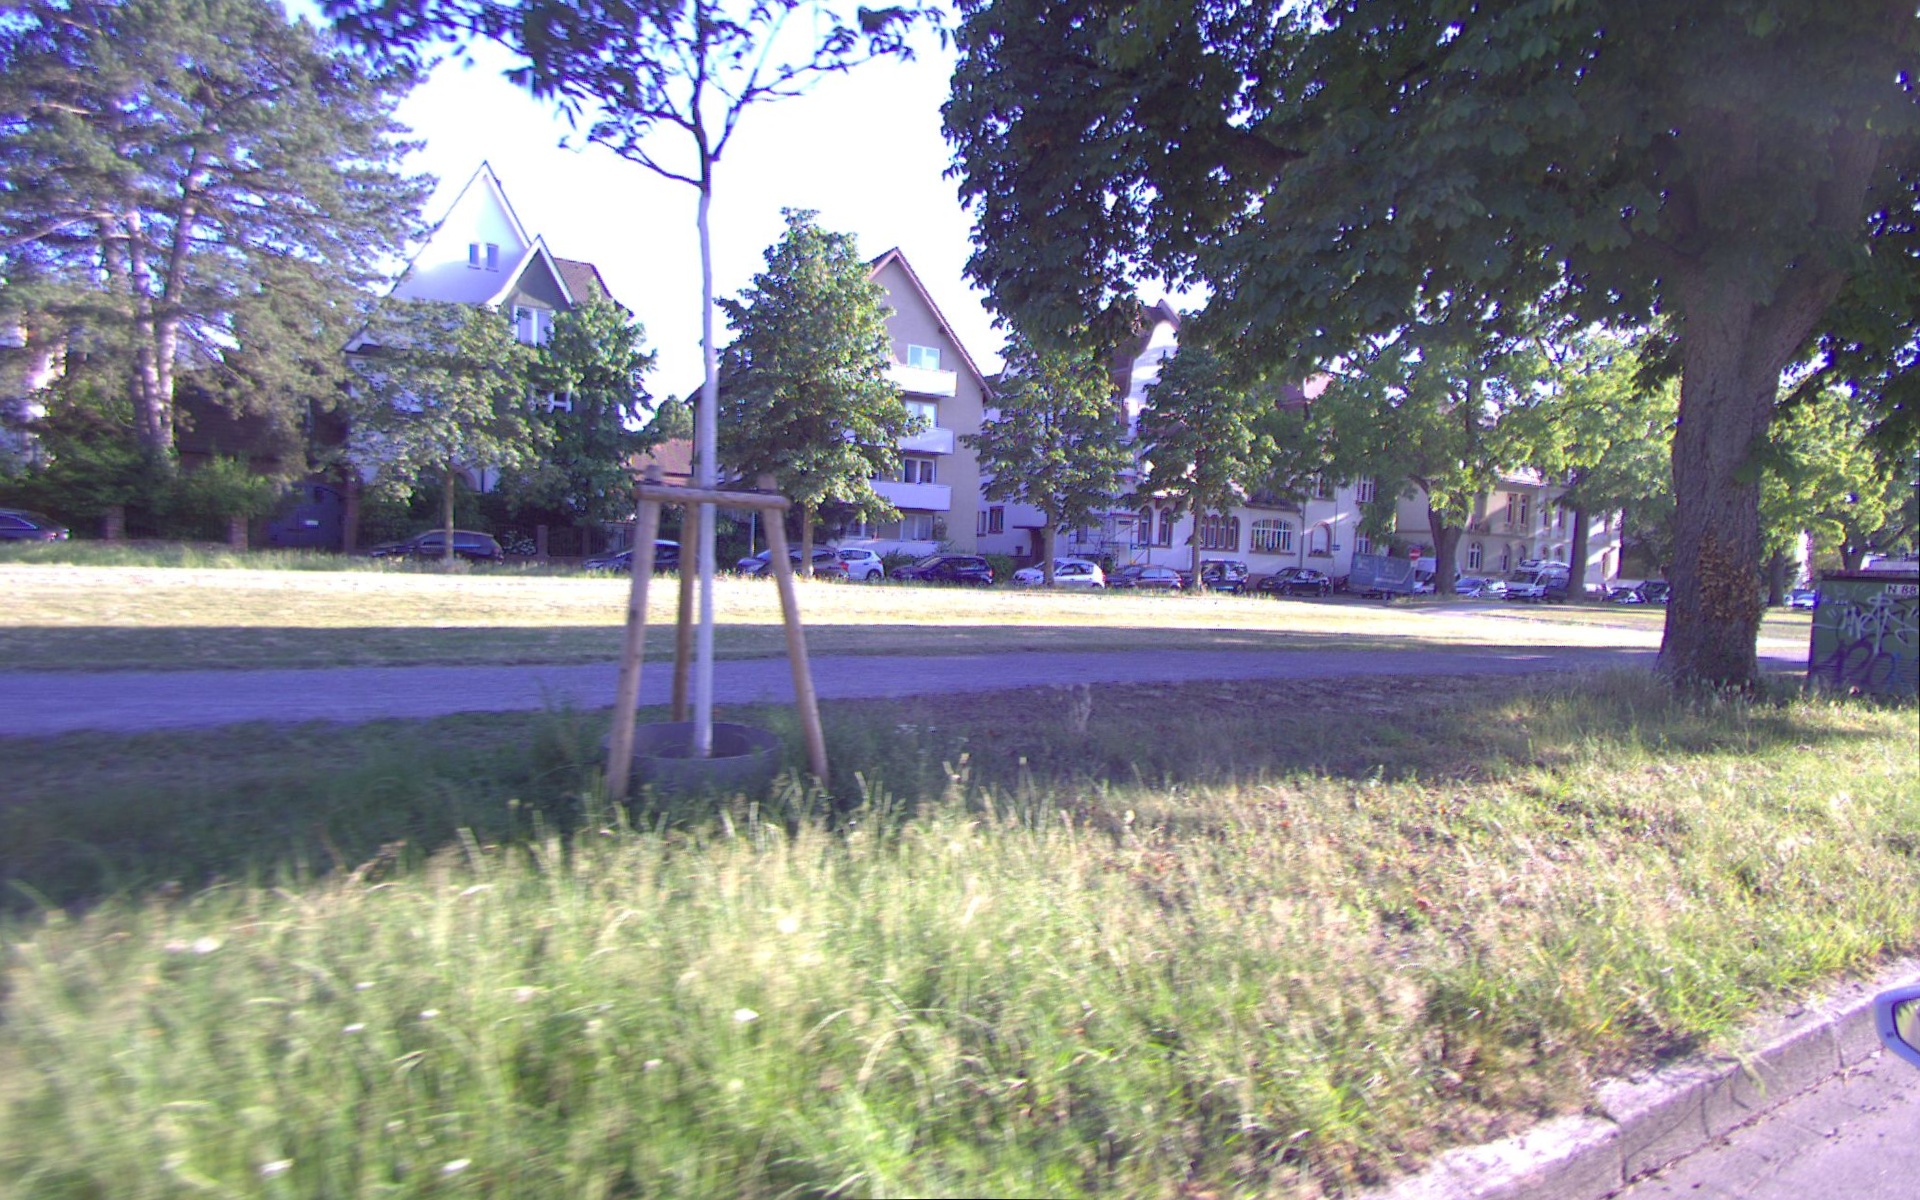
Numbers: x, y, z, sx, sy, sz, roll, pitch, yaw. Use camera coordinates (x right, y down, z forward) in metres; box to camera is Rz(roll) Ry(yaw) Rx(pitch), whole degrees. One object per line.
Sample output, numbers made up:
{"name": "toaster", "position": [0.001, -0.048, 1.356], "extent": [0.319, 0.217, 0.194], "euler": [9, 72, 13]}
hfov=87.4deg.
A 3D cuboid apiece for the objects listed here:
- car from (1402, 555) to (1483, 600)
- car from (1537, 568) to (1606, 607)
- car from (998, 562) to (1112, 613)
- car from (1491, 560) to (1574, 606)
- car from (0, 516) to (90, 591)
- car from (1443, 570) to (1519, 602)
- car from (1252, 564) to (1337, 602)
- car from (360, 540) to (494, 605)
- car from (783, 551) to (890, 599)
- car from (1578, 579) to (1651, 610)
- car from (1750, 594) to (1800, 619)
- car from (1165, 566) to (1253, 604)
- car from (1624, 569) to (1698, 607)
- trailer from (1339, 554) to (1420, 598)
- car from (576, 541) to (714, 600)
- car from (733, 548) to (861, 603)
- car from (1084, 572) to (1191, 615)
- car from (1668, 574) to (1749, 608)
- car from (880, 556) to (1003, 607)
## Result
{"name": "car", "position": [30.618, -1.414, 63.658], "extent": [5.125, 2.709, 1.984], "euler": [1, 3, -30]}
{"name": "car", "position": [36.989, -0.757, 60.739], "extent": [4.263, 2.205, 1.677], "euler": [1, 3, -30]}
{"name": "car", "position": [3.890, -0.504, 40.930], "extent": [4.204, 1.885, 1.984], "euler": [1, 3, -29]}
{"name": "car", "position": [39.283, -1.109, 68.909], "extent": [5.750, 2.961, 2.426], "euler": [1, 0, -31]}
{"name": "car", "position": [-27.724, -1.373, 28.717], "extent": [3.951, 2.041, 1.984], "euler": [1, 3, -29]}
{"name": "car", "position": [28.954, -0.769, 55.811], "extent": [4.263, 1.581, 1.677], "euler": [1, 3, -30]}
{"name": "car", "position": [19.024, -0.958, 57.073], "extent": [4.697, 1.979, 1.983], "euler": [1, 3, -32]}
{"name": "car", "position": [-18.211, -0.953, 34.538], "extent": [3.947, 2.041, 1.986], "euler": [1, 3, -26]}
{"name": "car", "position": [-5.157, -1.047, 42.140], "extent": [3.957, 1.807, 1.982], "euler": [1, 3, -33]}
{"name": "car", "position": [41.321, -0.334, 63.447], "extent": [4.431, 1.817, 1.984], "euler": [1, 3, -30]}
{"name": "car", "position": [72.070, 0.584, 88.814], "extent": [4.432, 2.040, 1.984], "euler": [1, 0, -31]}
{"name": "car", "position": [13.226, -0.785, 53.267], "extent": [4.448, 1.902, 1.981], "euler": [1, 3, -33]}
{"name": "car", "position": [46.280, -0.786, 66.303], "extent": [5.126, 2.281, 1.983], "euler": [1, 3, -31]}
{"name": "trailer", "position": [25.229, -1.419, 60.431], "extent": [4.668, 2.461, 1.984], "euler": [1, 3, -30]}
{"name": "car", "position": [-10.228, -0.967, 32.632], "extent": [3.950, 1.706, 1.985], "euler": [1, 3, -28]}
{"name": "car", "position": [-5.698, -0.861, 35.057], "extent": [3.950, 1.706, 1.985], "euler": [1, 3, -28]}
{"name": "car", "position": [7.684, -0.279, 43.442], "extent": [4.204, 1.671, 1.984], "euler": [1, 3, -29]}
{"name": "car", "position": [52.252, -0.632, 70.108], "extent": [5.394, 2.267, 2.522], "euler": [0, 3, -30]}
{"name": "car", "position": [-0.692, -0.693, 38.174], "extent": [4.204, 1.744, 1.984], "euler": [1, 3, -29]}
